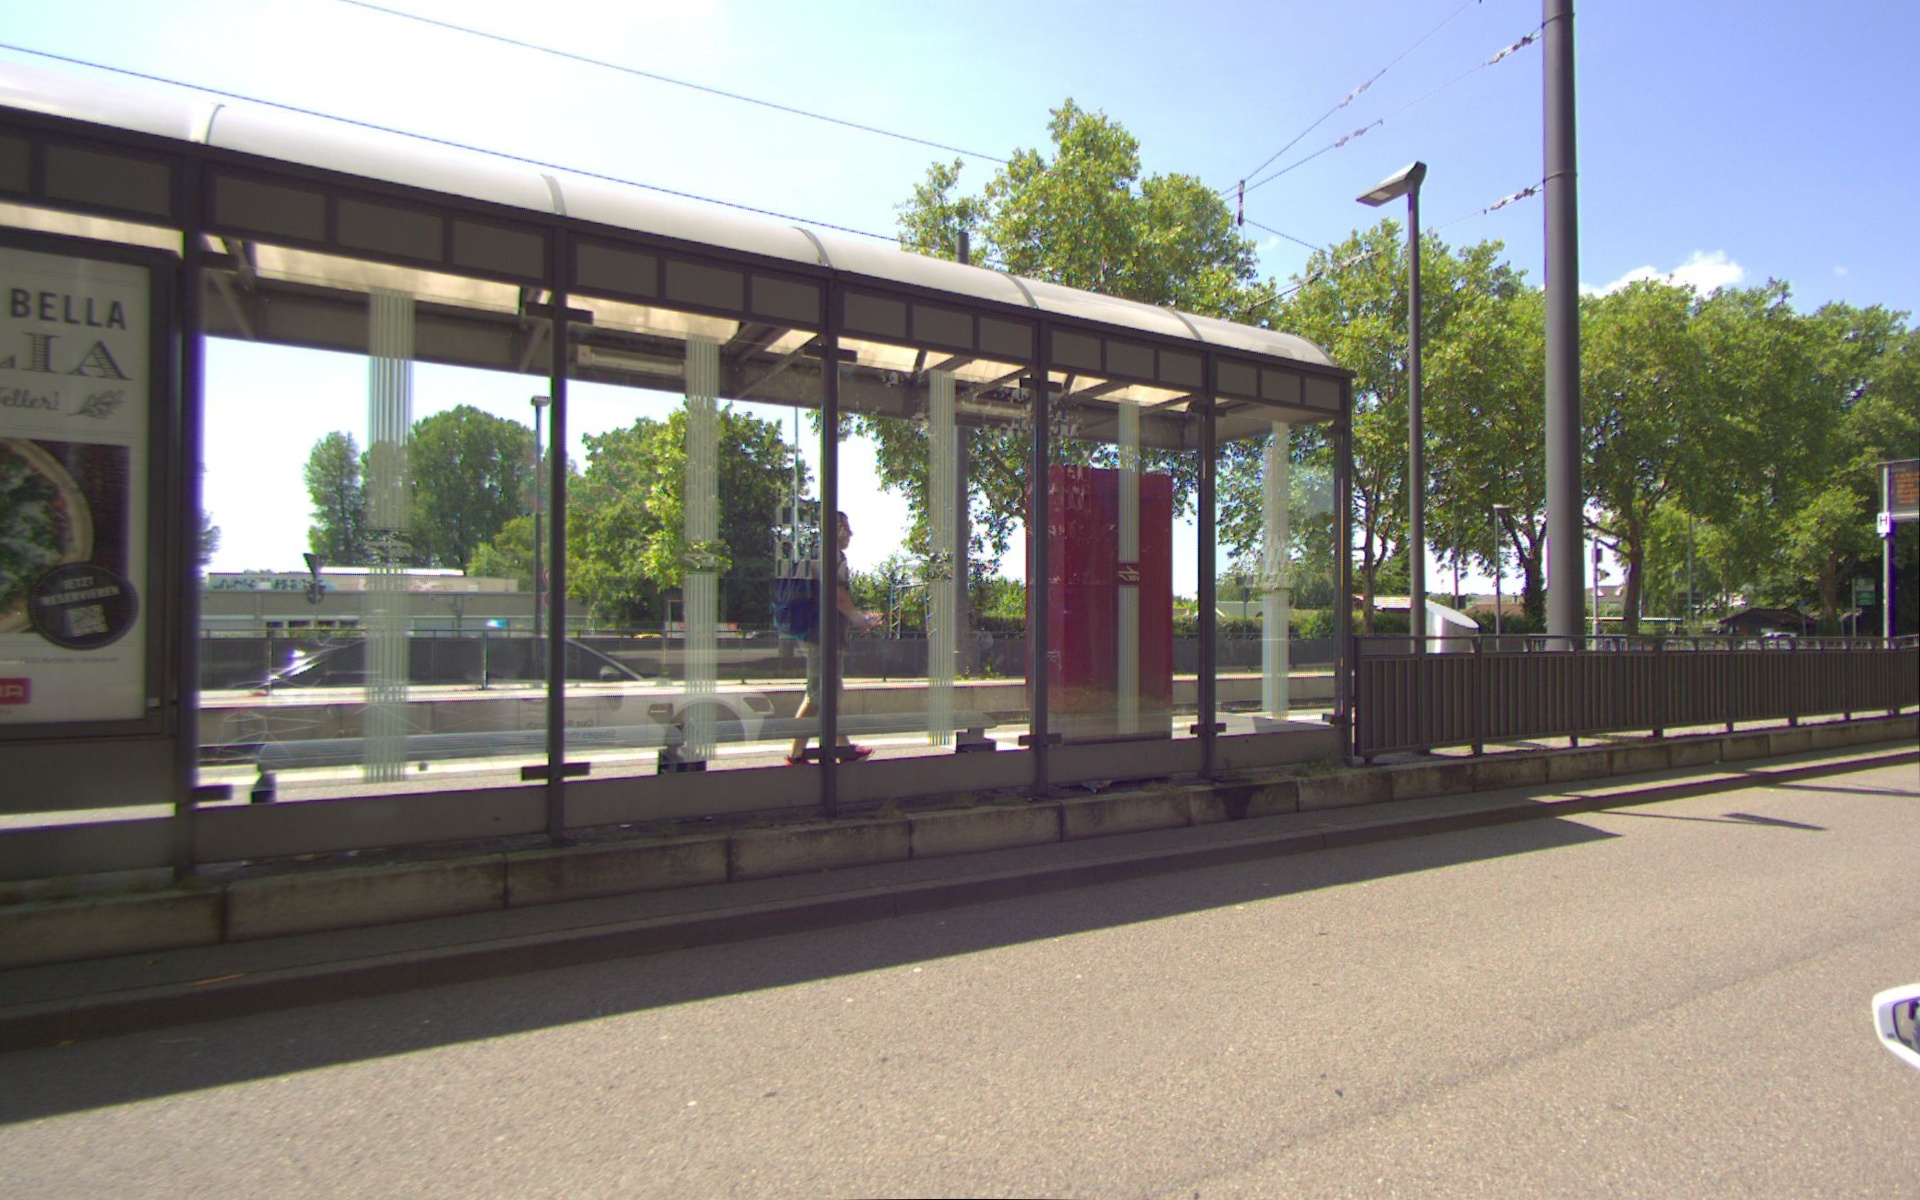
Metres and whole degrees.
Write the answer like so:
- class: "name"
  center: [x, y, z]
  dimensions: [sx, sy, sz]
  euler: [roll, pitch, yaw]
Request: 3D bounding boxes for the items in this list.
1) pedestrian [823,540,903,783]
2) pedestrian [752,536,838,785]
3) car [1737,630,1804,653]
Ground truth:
- class: "pedestrian"
  center: [-0.626, 0.388, 6.554]
  dimensions: [0.410, 1.528, 0.396]
  euler: [0, -1, 14]
- class: "pedestrian"
  center: [-1.046, 0.377, 6.407]
  dimensions: [0.410, 1.528, 0.396]
  euler: [0, -1, 14]
- class: "car"
  center: [54.514, 2.780, 67.603]
  dimensions: [1.641, 1.495, 3.288]
  euler: [1, -1, -40]
